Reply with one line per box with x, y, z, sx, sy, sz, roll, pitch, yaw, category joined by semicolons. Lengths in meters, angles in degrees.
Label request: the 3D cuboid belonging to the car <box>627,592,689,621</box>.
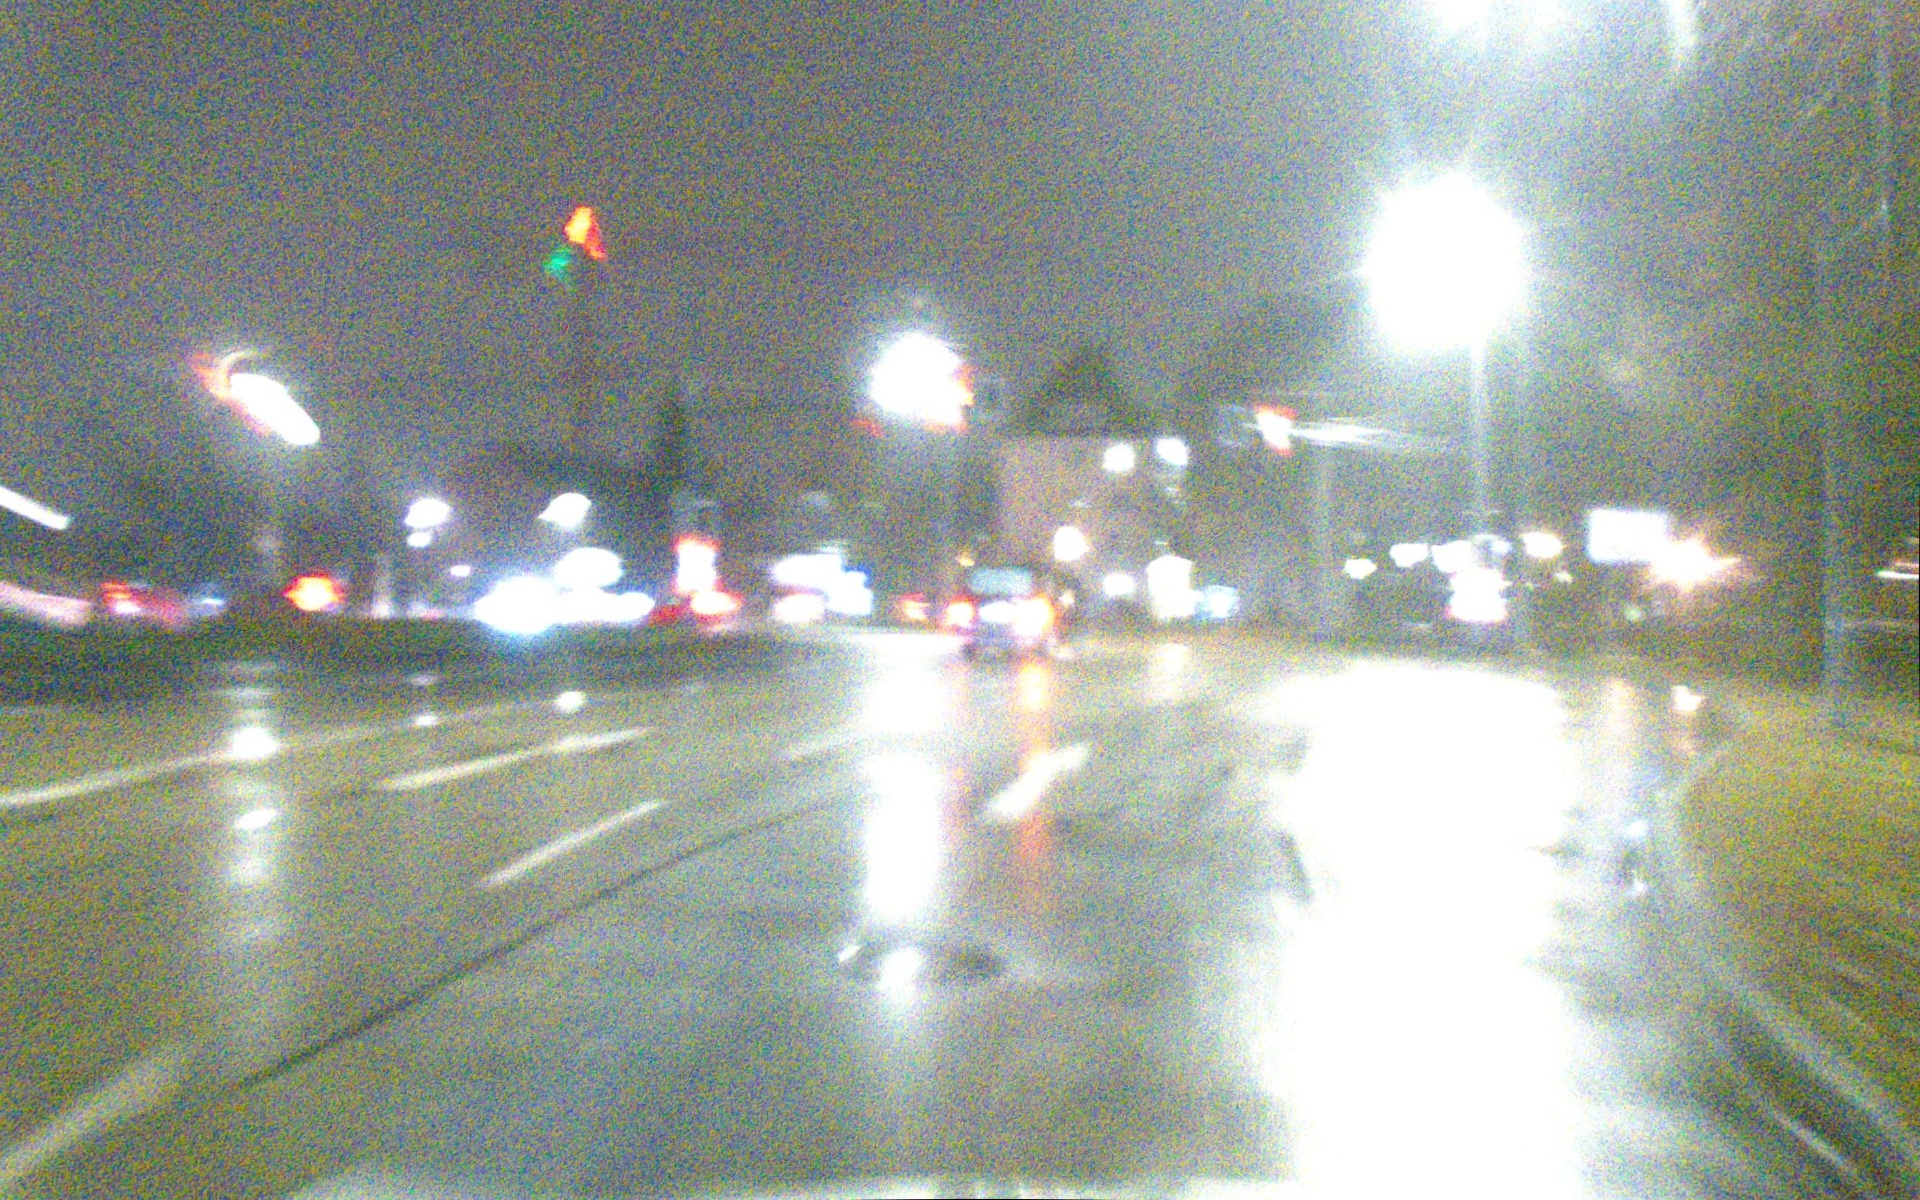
-19.837;0.441;108.750;1.952;1.766;4.620;2;-1;20;car

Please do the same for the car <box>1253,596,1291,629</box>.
15.622;0.635;83.015;1.680;1.523;3.915;2;-1;8;car

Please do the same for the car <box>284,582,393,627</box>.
-24.271;0.180;64.618;3.540;1.606;1.738;2;-1;6;car

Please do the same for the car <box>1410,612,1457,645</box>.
23.348;1.401;81.600;1.680;1.523;3.915;2;-1;8;car

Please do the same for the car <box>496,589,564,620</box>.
-24.442;0.268;94.137;1.819;1.668;3.891;2;-1;20;car

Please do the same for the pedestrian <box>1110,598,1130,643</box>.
6.928;0.894;71.634;0.640;1.935;0.727;2;-1;-9;pedestrian

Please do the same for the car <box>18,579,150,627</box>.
-32.029;0.116;60.563;3.886;1.606;1.869;2;-1;-15;car

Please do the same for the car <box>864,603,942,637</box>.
-3.154;1.112;91.891;3.968;1.711;1.794;2;-1;10;car

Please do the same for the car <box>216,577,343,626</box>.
-25.232;0.068;61.425;3.905;1.644;1.836;2;-1;-1;car

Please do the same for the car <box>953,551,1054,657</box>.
0.997;0.095;35.252;1.952;2.049;4.559;2;-1;3;car

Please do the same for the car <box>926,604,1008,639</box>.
0.371;1.139;86.794;3.903;1.713;1.919;2;-1;17;car

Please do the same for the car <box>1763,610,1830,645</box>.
40.068;1.308;79.322;1.680;1.563;3.915;2;-1;8;car

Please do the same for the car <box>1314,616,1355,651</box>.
18.517;1.696;81.876;1.679;1.523;3.914;1;-4;8;car
